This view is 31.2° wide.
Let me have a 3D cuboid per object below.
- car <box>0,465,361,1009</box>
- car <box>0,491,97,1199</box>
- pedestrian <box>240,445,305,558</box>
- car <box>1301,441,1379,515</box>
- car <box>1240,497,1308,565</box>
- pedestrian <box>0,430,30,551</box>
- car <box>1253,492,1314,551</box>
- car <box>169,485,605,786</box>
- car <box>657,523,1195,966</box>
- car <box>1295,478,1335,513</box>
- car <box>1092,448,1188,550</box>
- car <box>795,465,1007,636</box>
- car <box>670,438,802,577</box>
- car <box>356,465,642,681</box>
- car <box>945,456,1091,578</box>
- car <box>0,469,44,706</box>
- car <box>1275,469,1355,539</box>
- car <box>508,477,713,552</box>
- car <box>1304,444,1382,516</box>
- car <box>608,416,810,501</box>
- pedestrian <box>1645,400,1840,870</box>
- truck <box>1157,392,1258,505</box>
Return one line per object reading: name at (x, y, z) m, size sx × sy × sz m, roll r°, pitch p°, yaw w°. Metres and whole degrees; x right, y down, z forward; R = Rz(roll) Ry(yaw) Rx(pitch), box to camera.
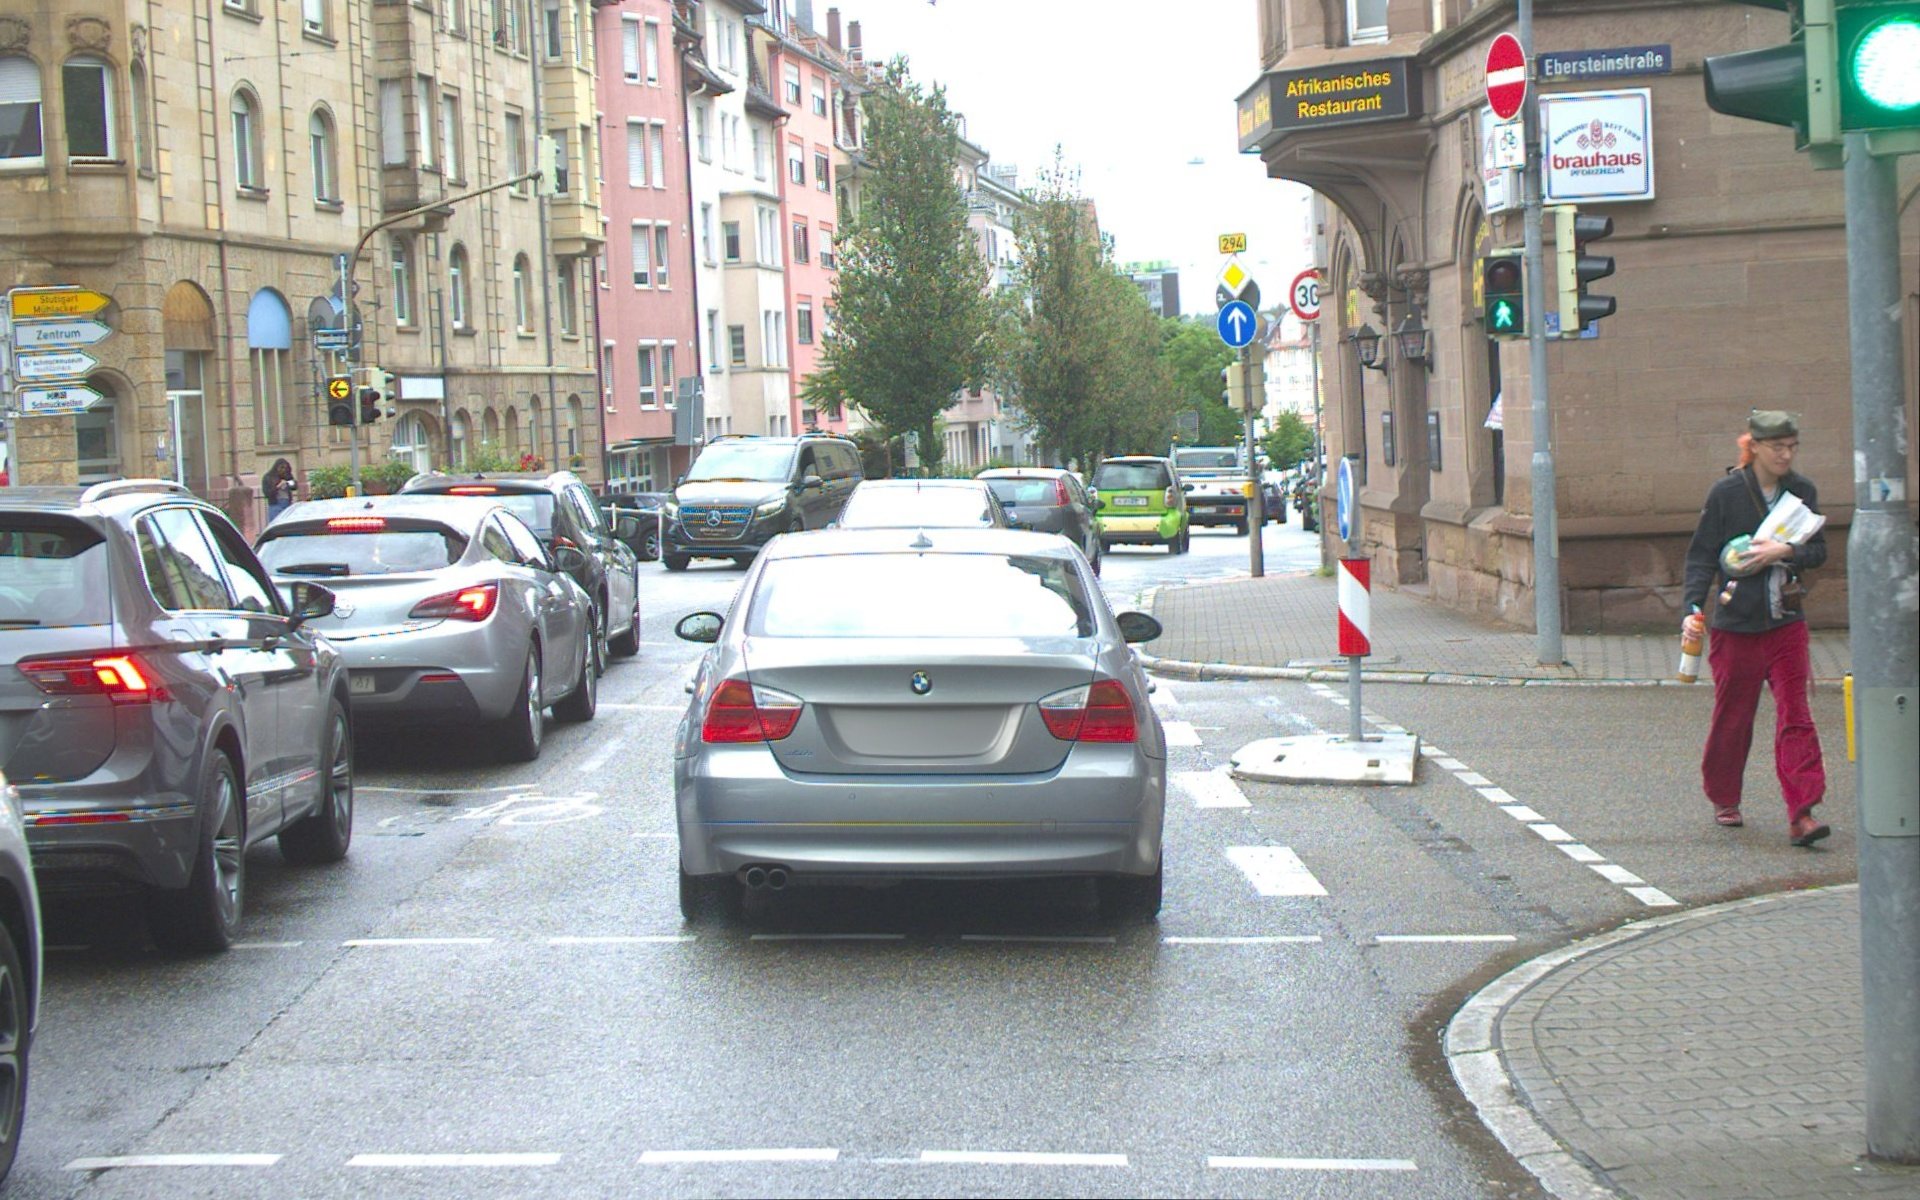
car at (-3.474, 0.365, 13.002) m, size 1.752 × 1.638 × 4.213 m, roll -1°, pitch 3°, yaw -2°
car at (-3.004, 0.615, 6.445) m, size 1.752 × 1.639 × 4.379 m, roll -1°, pitch 1°, yaw -2°
pedestrian at (-10.394, -1.491, 51.970) m, size 0.826 × 1.696 × 0.639 m, roll -1°, pitch 2°, yaw -22°
car at (10.207, -3.249, 92.145) m, size 1.920 × 1.821 × 5.008 m, roll -3°, pitch 1°, yaw 7°
car at (9.127, -1.979, 99.694) m, size 1.813 × 1.897 × 3.999 m, roll 1°, pitch 1°, yaw 7°
pedestrian at (-14.002, -1.616, 50.653) m, size 0.522 × 1.768 × 0.694 m, roll -1°, pitch 2°, yaw -17°
car at (10.229, -2.456, 108.471) m, size 1.778 × 1.792 × 3.999 m, roll 1°, pitch 1°, yaw 7°
car at (-3.181, 0.115, 19.894) m, size 1.752 × 1.478 × 4.181 m, roll -2°, pitch 2°, yaw 1°
car at (-0.163, 0.437, 13.240) m, size 1.769 × 1.423 × 3.741 m, roll 0°, pitch 2°, yaw -2°
car at (17.704, -5.219, 171.519) m, size 1.879 × 1.725 × 4.676 m, roll 0°, pitch 2°, yaw 7°
car at (2.885, -1.603, 54.859) m, size 1.449 × 1.560 × 3.333 m, roll -1°, pitch 1°, yaw 3°
car at (-0.477, -0.468, 30.998) m, size 1.682 × 1.423 × 3.741 m, roll -1°, pitch 1°, yaw 2°
car at (-3.258, -1.326, 49.517) m, size 1.742 × 1.840 × 4.147 m, roll -3°, pitch 2°, yaw -5°
car at (-3.520, -0.241, 26.905) m, size 1.752 × 1.529 × 4.215 m, roll -1°, pitch 1°, yaw -2°
car at (0.788, -1.070, 44.264) m, size 1.697 × 1.478 × 3.793 m, roll -1°, pitch 1°, yaw 3°
car at (-7.086, 0.113, 20.676) m, size 1.714 × 1.491 × 3.683 m, roll -8°, pitch 2°, yaw 5°
car at (8.342, -2.263, 80.774) m, size 1.799 × 1.559 × 4.492 m, roll -1°, pitch 2°, yaw 6°
car at (-7.688, -1.896, 75.809) m, size 4.148 × 1.505 × 1.873 m, roll -1°, pitch 2°, yaw 8°
car at (9.628, -2.989, 86.171) m, size 1.879 × 1.725 × 4.676 m, roll -1°, pitch 2°, yaw 7°
car at (-5.868, -3.320, 80.848) m, size 4.674 × 1.932 × 1.864 m, roll 0°, pitch 2°, yaw -2°
pedestrian at (3.350, 0.121, 14.785) m, size 0.698 × 1.942 × 1.090 m, roll 0°, pitch 3°, yaw 6°
truck at (5.563, -3.340, 76.744) m, size 2.032 × 2.404 × 4.826 m, roll -1°, pitch 1°, yaw 6°
